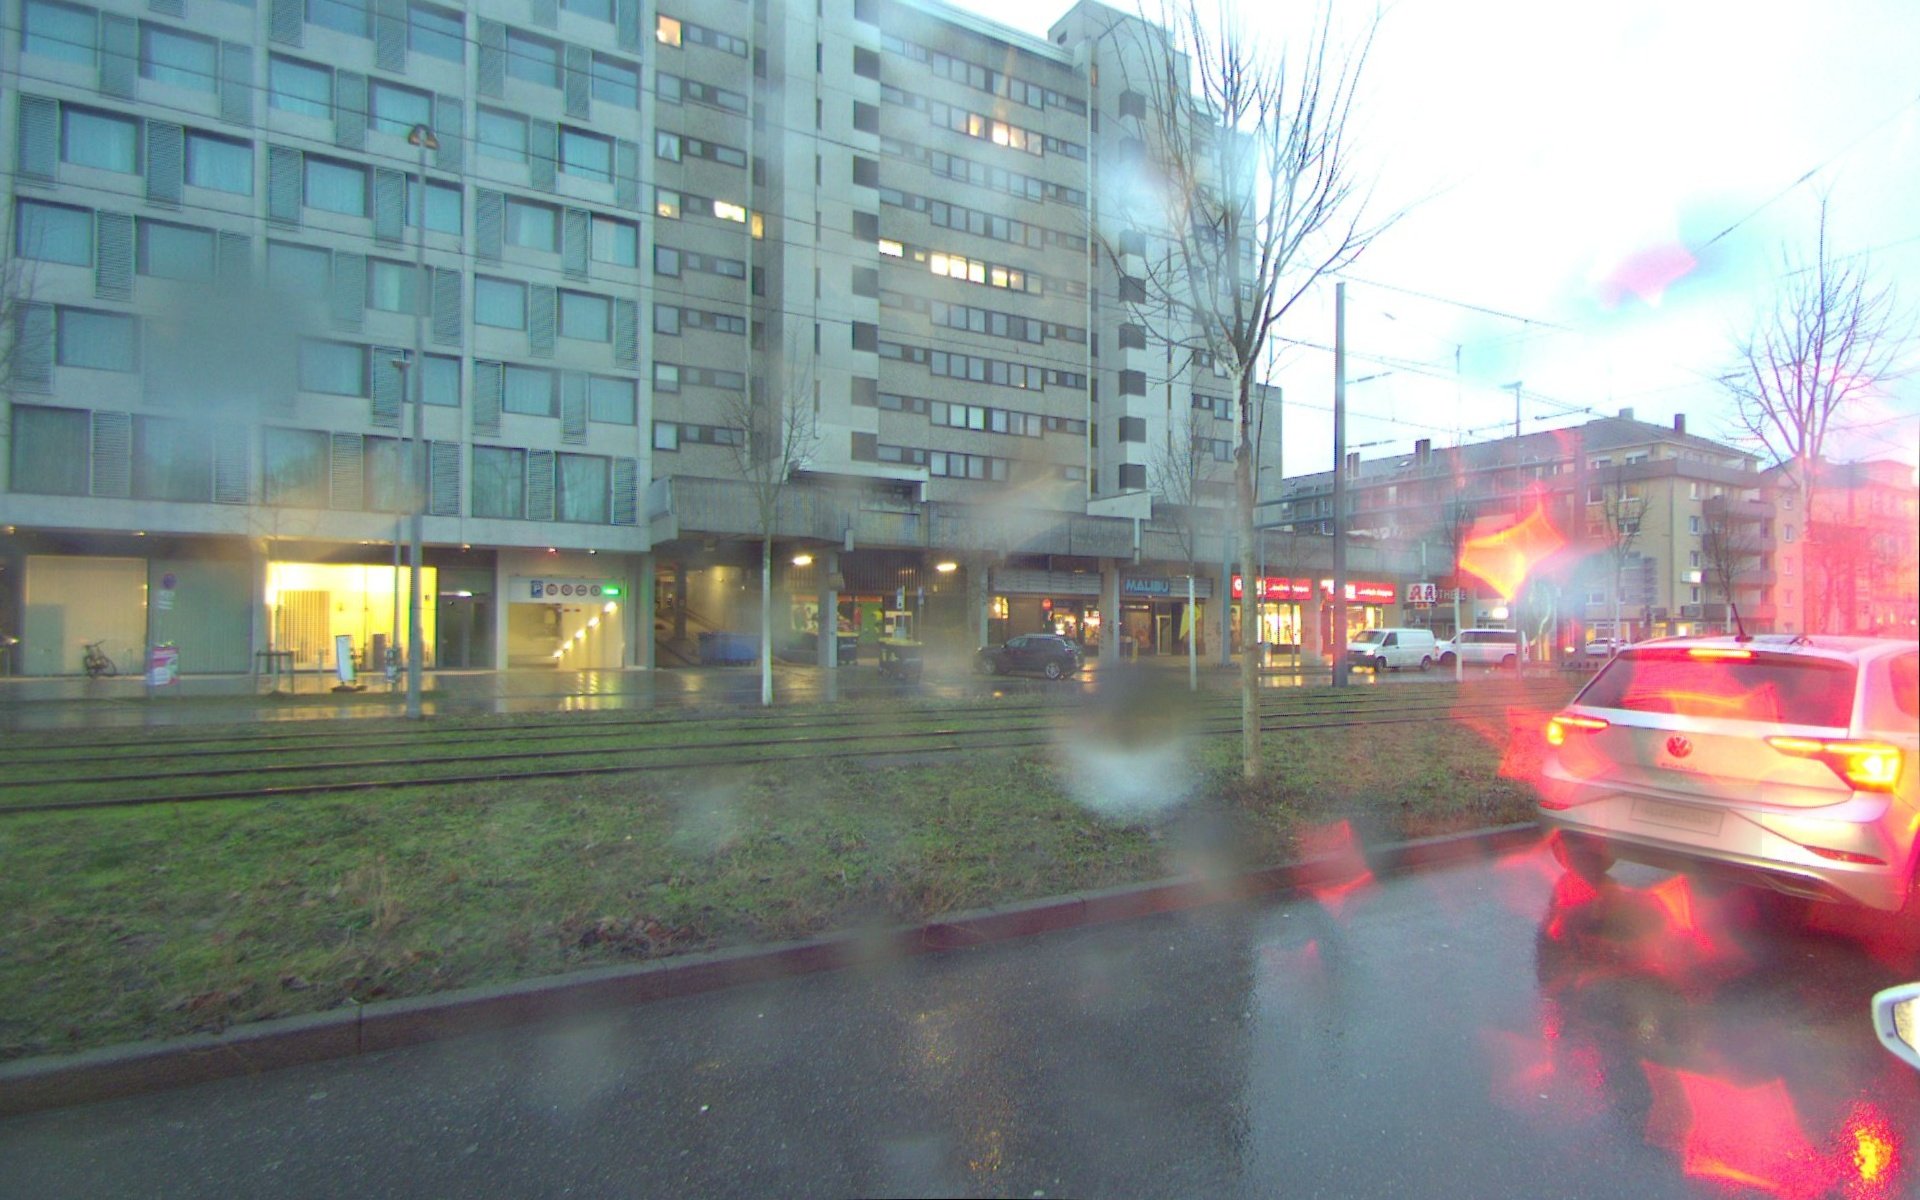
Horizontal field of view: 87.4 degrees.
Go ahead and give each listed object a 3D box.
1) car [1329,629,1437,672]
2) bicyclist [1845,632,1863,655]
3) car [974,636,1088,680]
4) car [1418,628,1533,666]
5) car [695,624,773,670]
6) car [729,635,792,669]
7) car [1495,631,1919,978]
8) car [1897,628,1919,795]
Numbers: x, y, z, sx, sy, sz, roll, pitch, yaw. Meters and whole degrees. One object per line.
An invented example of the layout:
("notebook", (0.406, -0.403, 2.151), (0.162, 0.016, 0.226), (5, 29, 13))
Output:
("car", (19.837, 2.321, 47.049), (5.101, 1.937, 1.985), (1, -2, -30))
("bicyclist", (61.842, 3.014, 69.503), (0.776, 1.600, 0.637), (1, 0, 28))
("car", (2.719, 2.179, 38.486), (3.925, 1.405, 1.935), (2, 0, 25))
("car", (27.072, 2.427, 52.900), (5.059, 1.937, 2.001), (0, -2, 15))
("car", (-9.104, 1.828, 40.197), (1.709, 1.718, 4.336), (1, -2, -32))
("car", (-8.737, 2.235, 43.768), (1.580, 1.377, 3.411), (1, -2, -32))
("car", (5.152, 0.921, 5.950), (3.936, 1.389, 1.753), (2, -1, -31))
("car", (10.584, 1.018, 9.163), (4.562, 1.424, 1.837), (2, -1, -31))
